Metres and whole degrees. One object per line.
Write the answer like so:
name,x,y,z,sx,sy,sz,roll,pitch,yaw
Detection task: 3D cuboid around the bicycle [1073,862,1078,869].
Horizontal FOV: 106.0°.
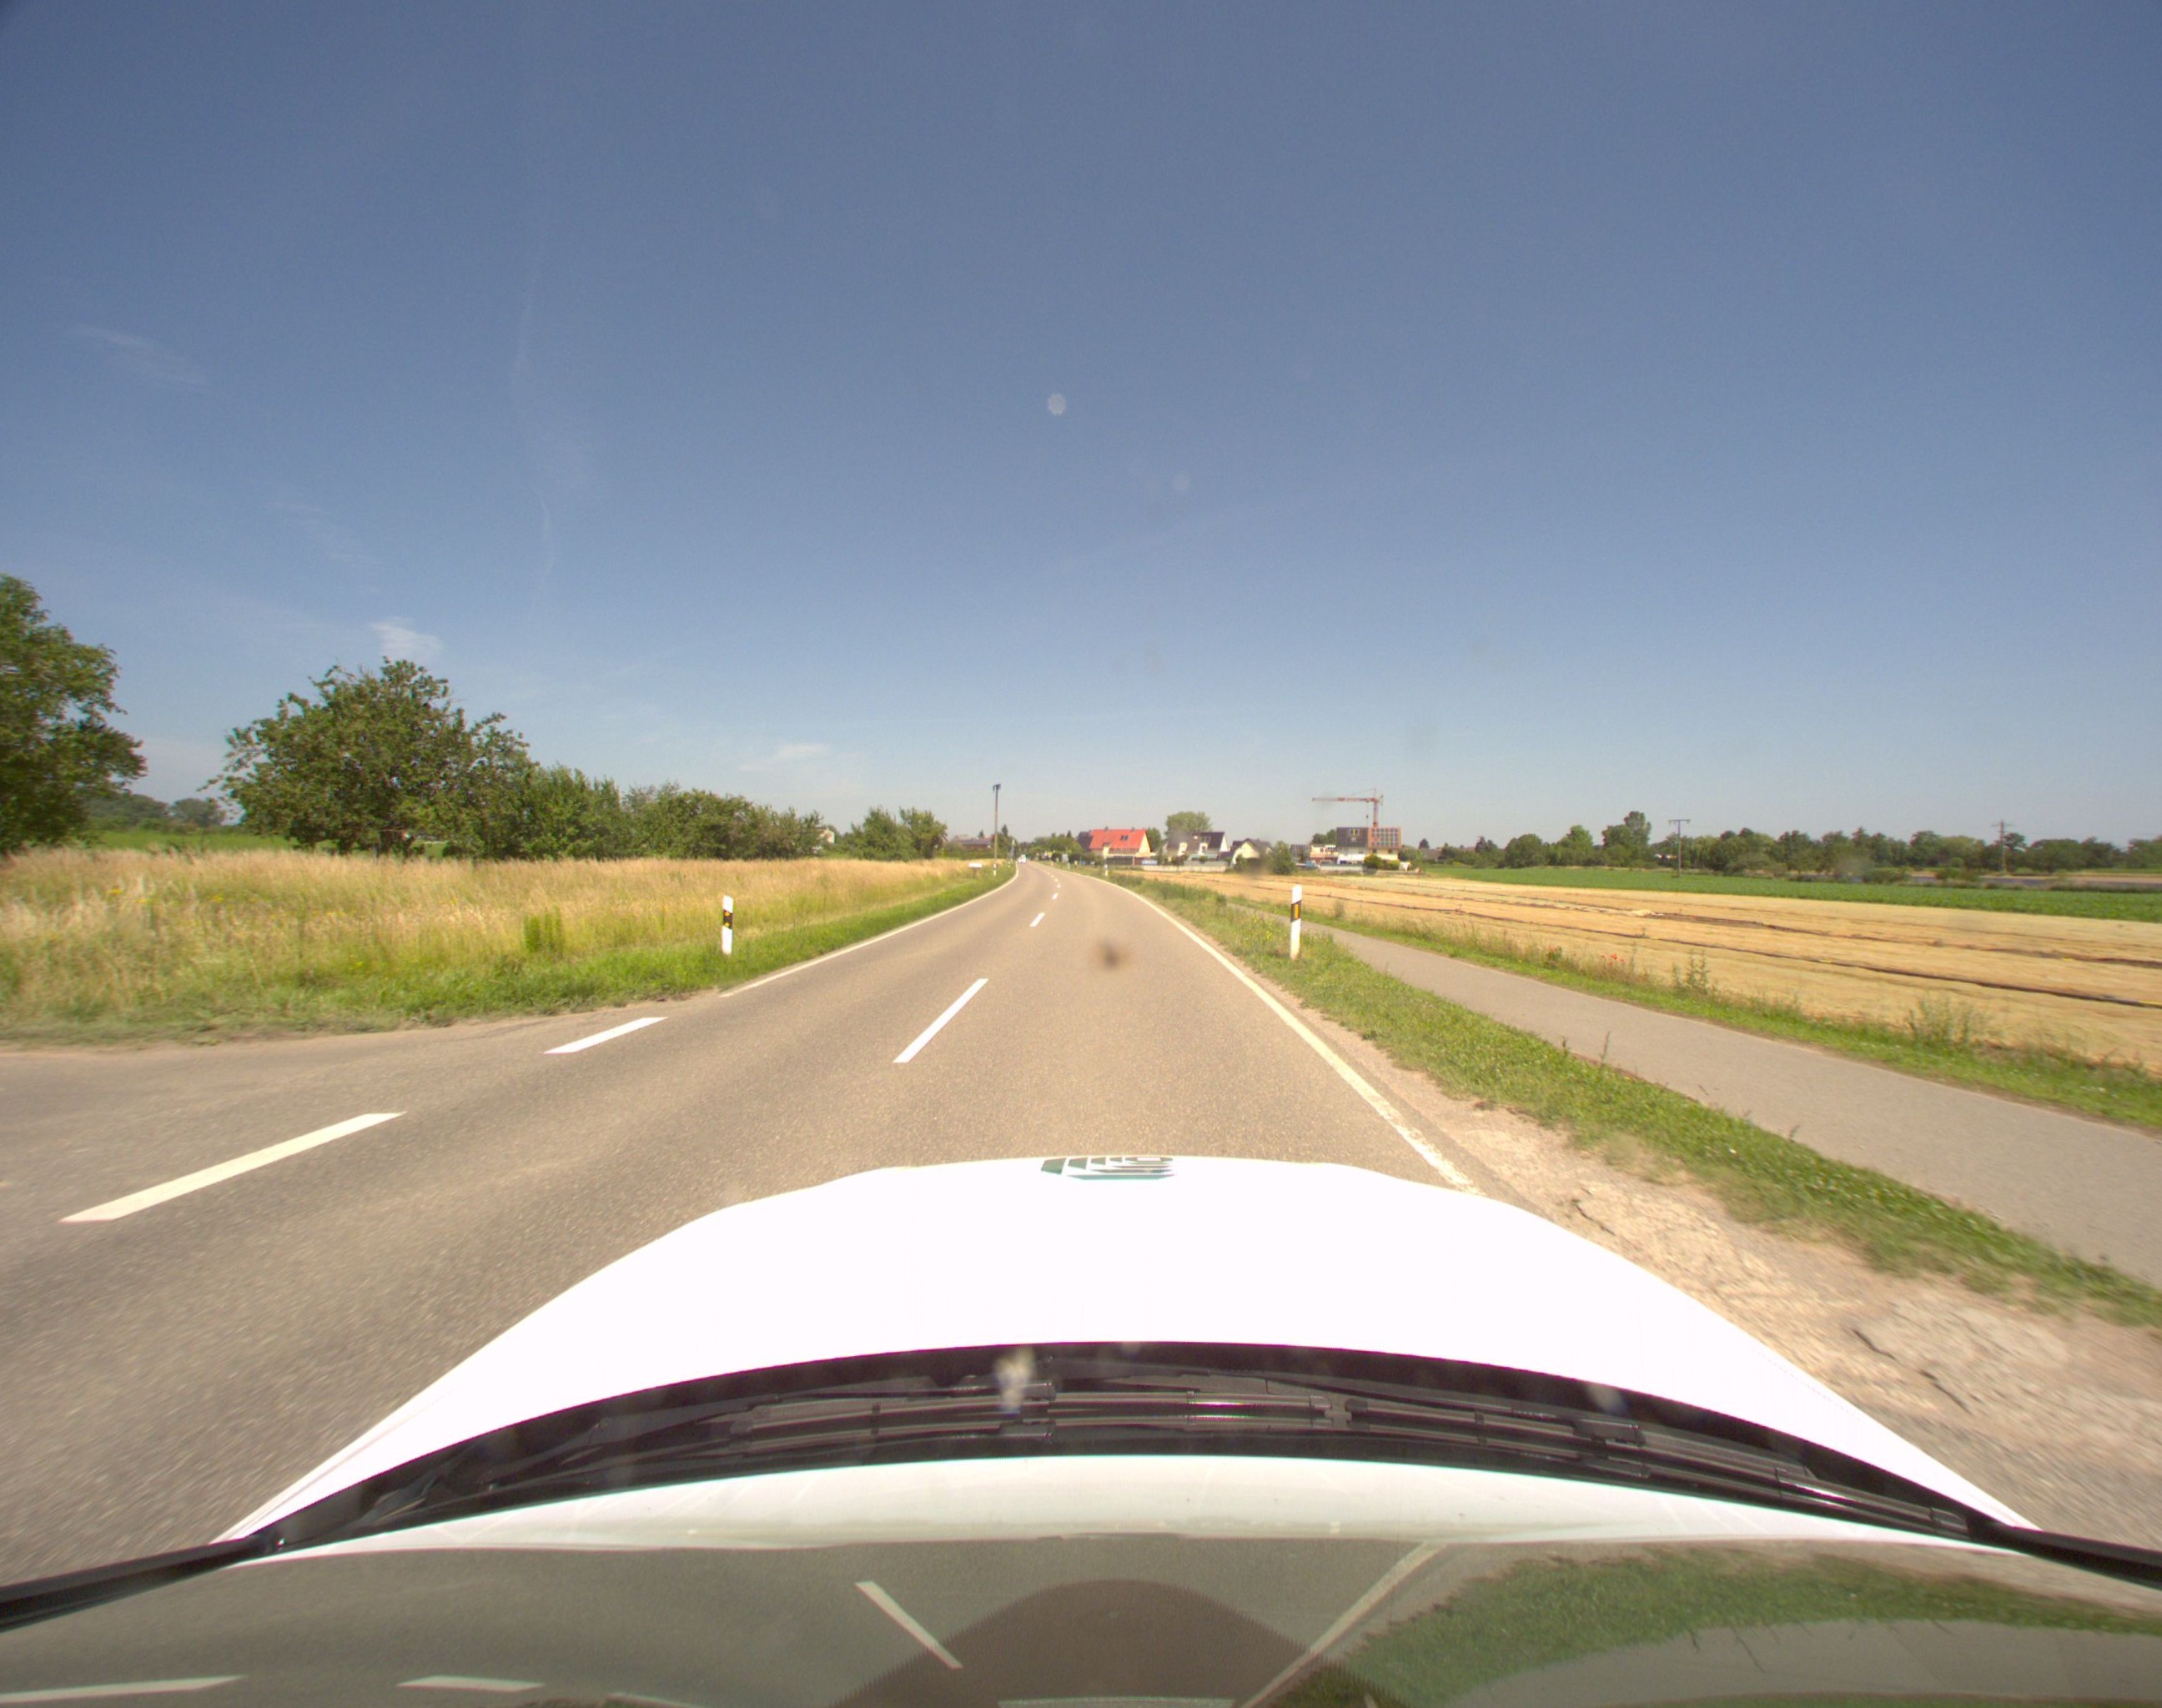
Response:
bicycle,-1.000,1.919,140.941,0.609,1.158,2.270,2,0,-5

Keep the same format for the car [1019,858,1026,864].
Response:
car,-15.269,1.839,211.142,1.789,1.409,4.178,0,0,-5

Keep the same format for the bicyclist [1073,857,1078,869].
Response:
bicyclist,-0.974,1.557,140.815,0.644,1.889,0.859,2,0,-6

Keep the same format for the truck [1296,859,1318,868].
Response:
truck,60.993,2.584,220.147,5.507,2.230,2.226,0,-1,20
